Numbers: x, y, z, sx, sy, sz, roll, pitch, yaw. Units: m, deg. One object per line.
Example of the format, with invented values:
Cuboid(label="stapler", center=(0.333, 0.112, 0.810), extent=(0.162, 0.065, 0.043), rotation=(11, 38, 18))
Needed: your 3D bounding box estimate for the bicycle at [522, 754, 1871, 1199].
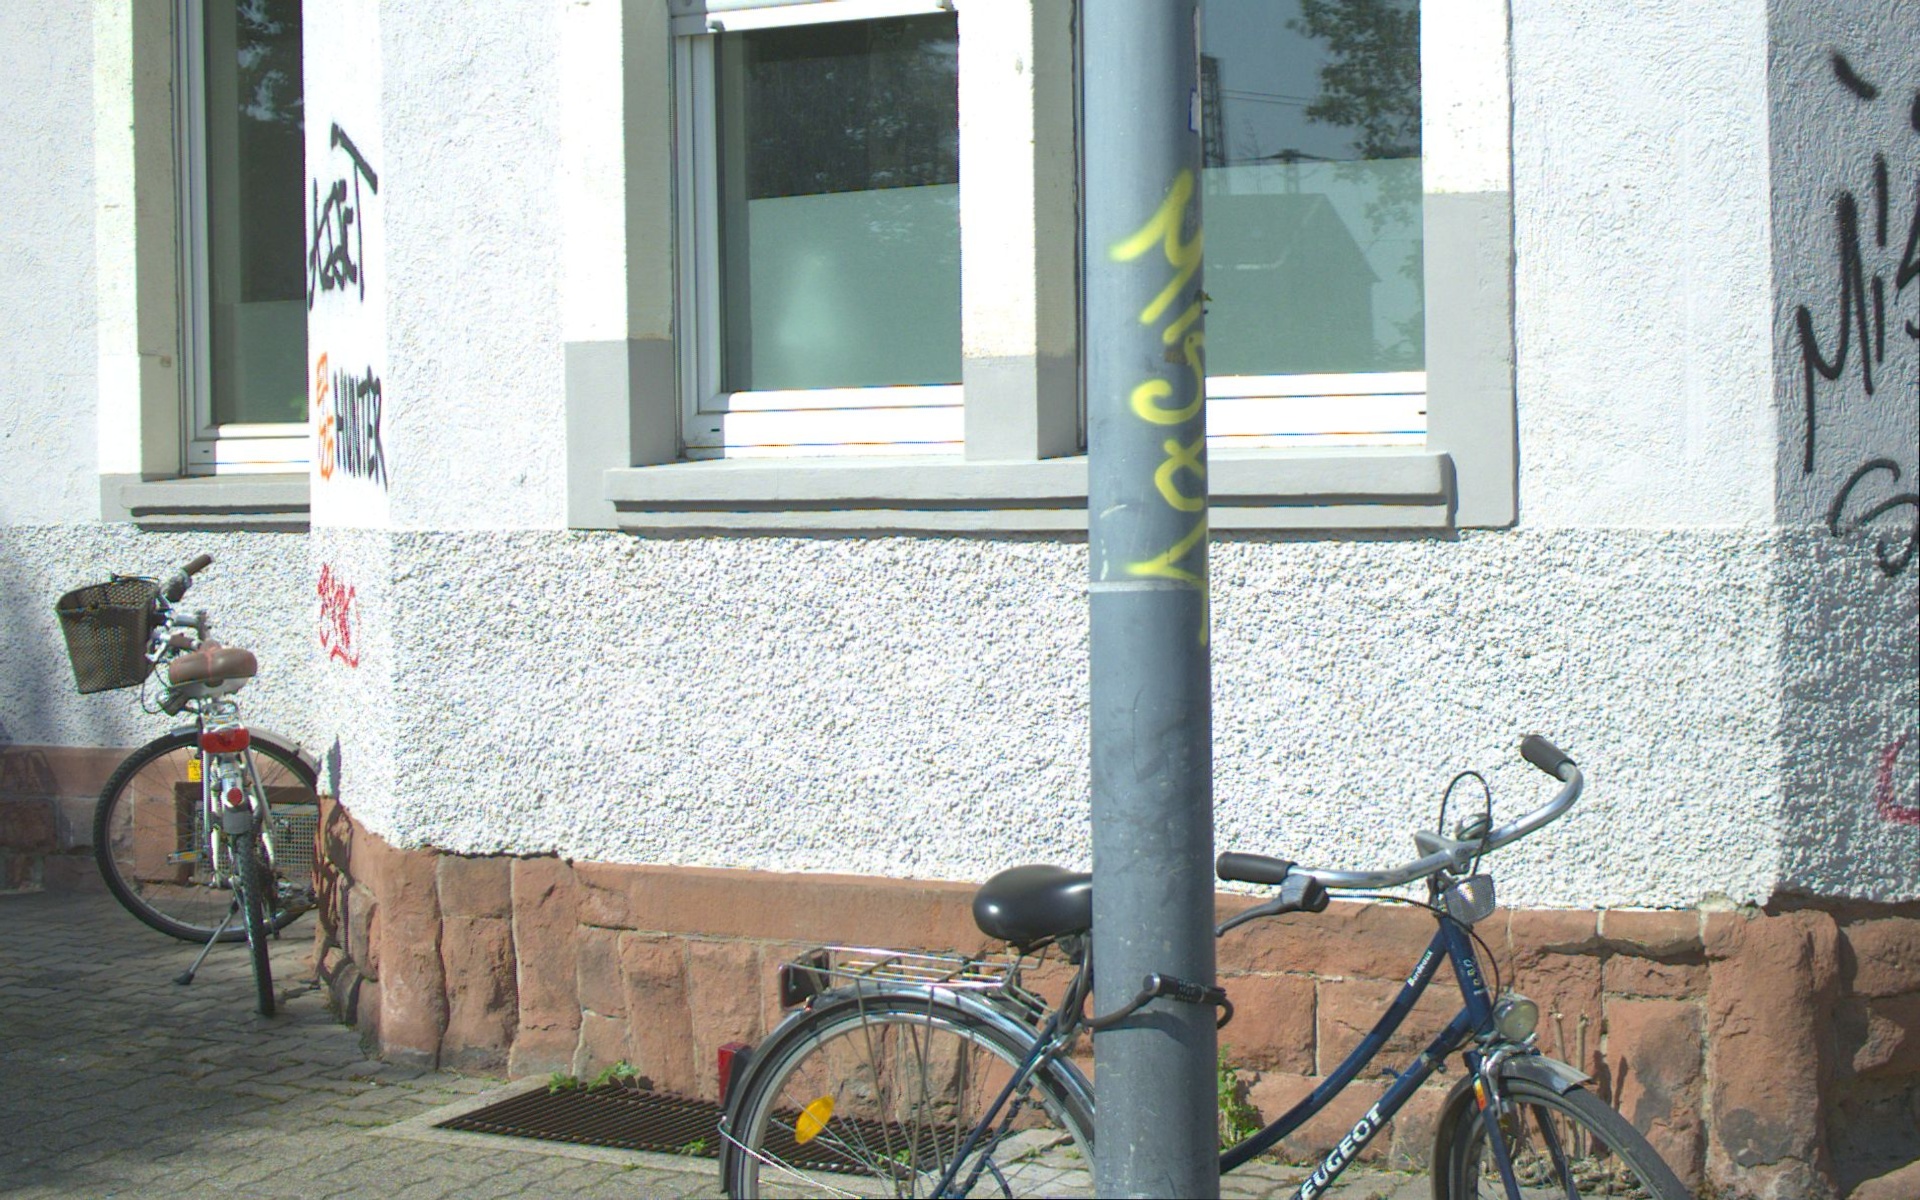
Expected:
Cuboid(label="bicycle", center=(0.304, 0.795, 4.674), extent=(1.731, 1.083, 0.578), rotation=(0, 2, 26))

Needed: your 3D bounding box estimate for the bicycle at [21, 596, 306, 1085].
Cuboid(label="bicycle", center=(-2.135, 0.570, 9.081), extent=(0.536, 1.042, 1.828), rotation=(-2, 4, -18))

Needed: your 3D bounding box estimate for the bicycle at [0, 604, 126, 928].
Cuboid(label="bicycle", center=(-3.742, 0.497, 11.145), extent=(2.110, 0.942, 0.609), rotation=(1, 4, 28))
